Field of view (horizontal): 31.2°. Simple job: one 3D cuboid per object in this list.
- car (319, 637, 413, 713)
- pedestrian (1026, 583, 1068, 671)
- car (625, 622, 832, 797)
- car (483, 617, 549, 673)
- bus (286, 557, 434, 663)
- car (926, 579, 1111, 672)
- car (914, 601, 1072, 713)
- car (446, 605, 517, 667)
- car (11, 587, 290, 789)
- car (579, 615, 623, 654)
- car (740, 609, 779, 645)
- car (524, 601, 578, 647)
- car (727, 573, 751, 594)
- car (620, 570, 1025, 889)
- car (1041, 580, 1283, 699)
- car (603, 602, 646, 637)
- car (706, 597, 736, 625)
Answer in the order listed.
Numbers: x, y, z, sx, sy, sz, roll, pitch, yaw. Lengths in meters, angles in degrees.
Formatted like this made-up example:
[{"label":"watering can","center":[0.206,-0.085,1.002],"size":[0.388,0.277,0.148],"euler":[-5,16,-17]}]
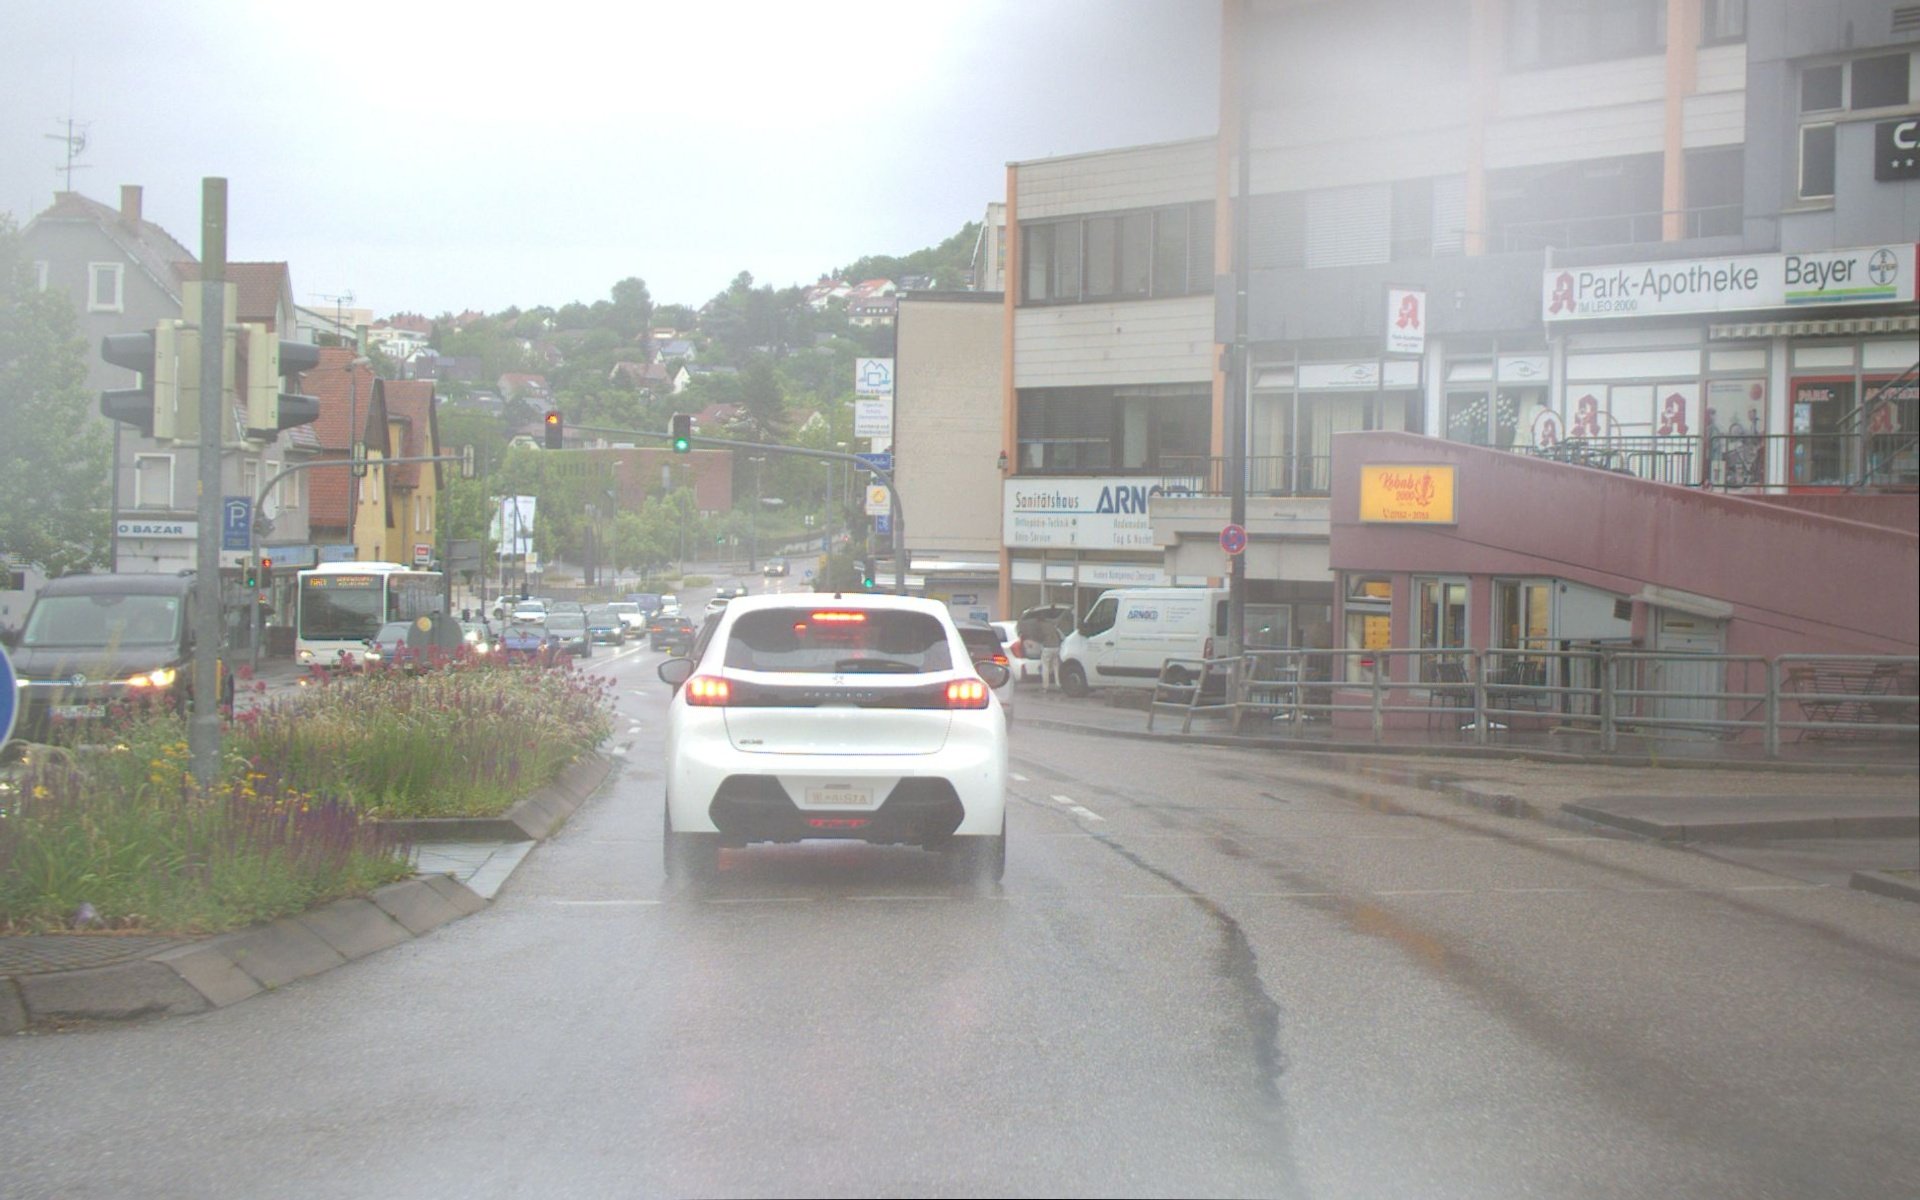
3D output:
[{"label":"car","center":[-13.428,1.673,77.868],"size":[1.892,1.549,4.001],"euler":[0,1,-7]},{"label":"pedestrian","center":[1.802,0.556,71.448],"size":[0.640,1.816,0.582],"euler":[-1,0,-35]},{"label":"car","center":[-2.290,1.061,34.820],"size":[1.815,1.524,3.813],"euler":[-2,1,-1]},{"label":"car","center":[-13.509,1.354,104.783],"size":[1.815,1.549,4.001],"euler":[0,1,-5]},{"label":"bus","center":[-16.700,0.200,96.231],"size":[2.938,2.774,9.505],"euler":[0,1,-3]},{"label":"car","center":[1.219,0.506,73.172],"size":[1.885,1.872,4.135],"euler":[-1,1,-35]},{"label":"car","center":[0.419,0.758,47.379],"size":[1.911,1.395,3.458],"euler":[1,1,-4]},{"label":"car","center":[-12.829,0.947,92.157],"size":[1.814,1.549,4.001],"euler":[0,1,-8]},{"label":"car","center":[-7.908,0.846,33.965],"size":[1.993,1.817,4.299],"euler":[-1,-1,-4]},{"label":"car","center":[-15.535,1.486,148.737],"size":[1.746,1.549,4.001],"euler":[0,1,-4]},{"label":"car","center":[-9.182,1.219,157.147],"size":[1.746,1.549,4.001],"euler":[0,1,-4]},{"label":"car","center":[-14.813,0.856,124.764],"size":[1.746,1.549,4.001],"euler":[0,1,-4]},{"label":"car","center":[-16.692,-1.252,259.268],"size":[1.746,1.549,4.001],"euler":[0,1,-4]},{"label":"car","center":[-0.752,0.650,18.239],"size":[1.871,1.457,3.873],"euler":[2,-1,-3]},{"label":"car","center":[3.954,0.743,68.117],"size":[1.994,2.219,4.974],"euler":[-1,1,-38]},{"label":"car","center":[-15.811,0.922,162.137],"size":[1.746,1.549,4.000],"euler":[0,1,-2]},{"label":"car","center":[-14.202,0.656,204.137],"size":[1.746,1.549,4.001],"euler":[0,1,-4]}]
